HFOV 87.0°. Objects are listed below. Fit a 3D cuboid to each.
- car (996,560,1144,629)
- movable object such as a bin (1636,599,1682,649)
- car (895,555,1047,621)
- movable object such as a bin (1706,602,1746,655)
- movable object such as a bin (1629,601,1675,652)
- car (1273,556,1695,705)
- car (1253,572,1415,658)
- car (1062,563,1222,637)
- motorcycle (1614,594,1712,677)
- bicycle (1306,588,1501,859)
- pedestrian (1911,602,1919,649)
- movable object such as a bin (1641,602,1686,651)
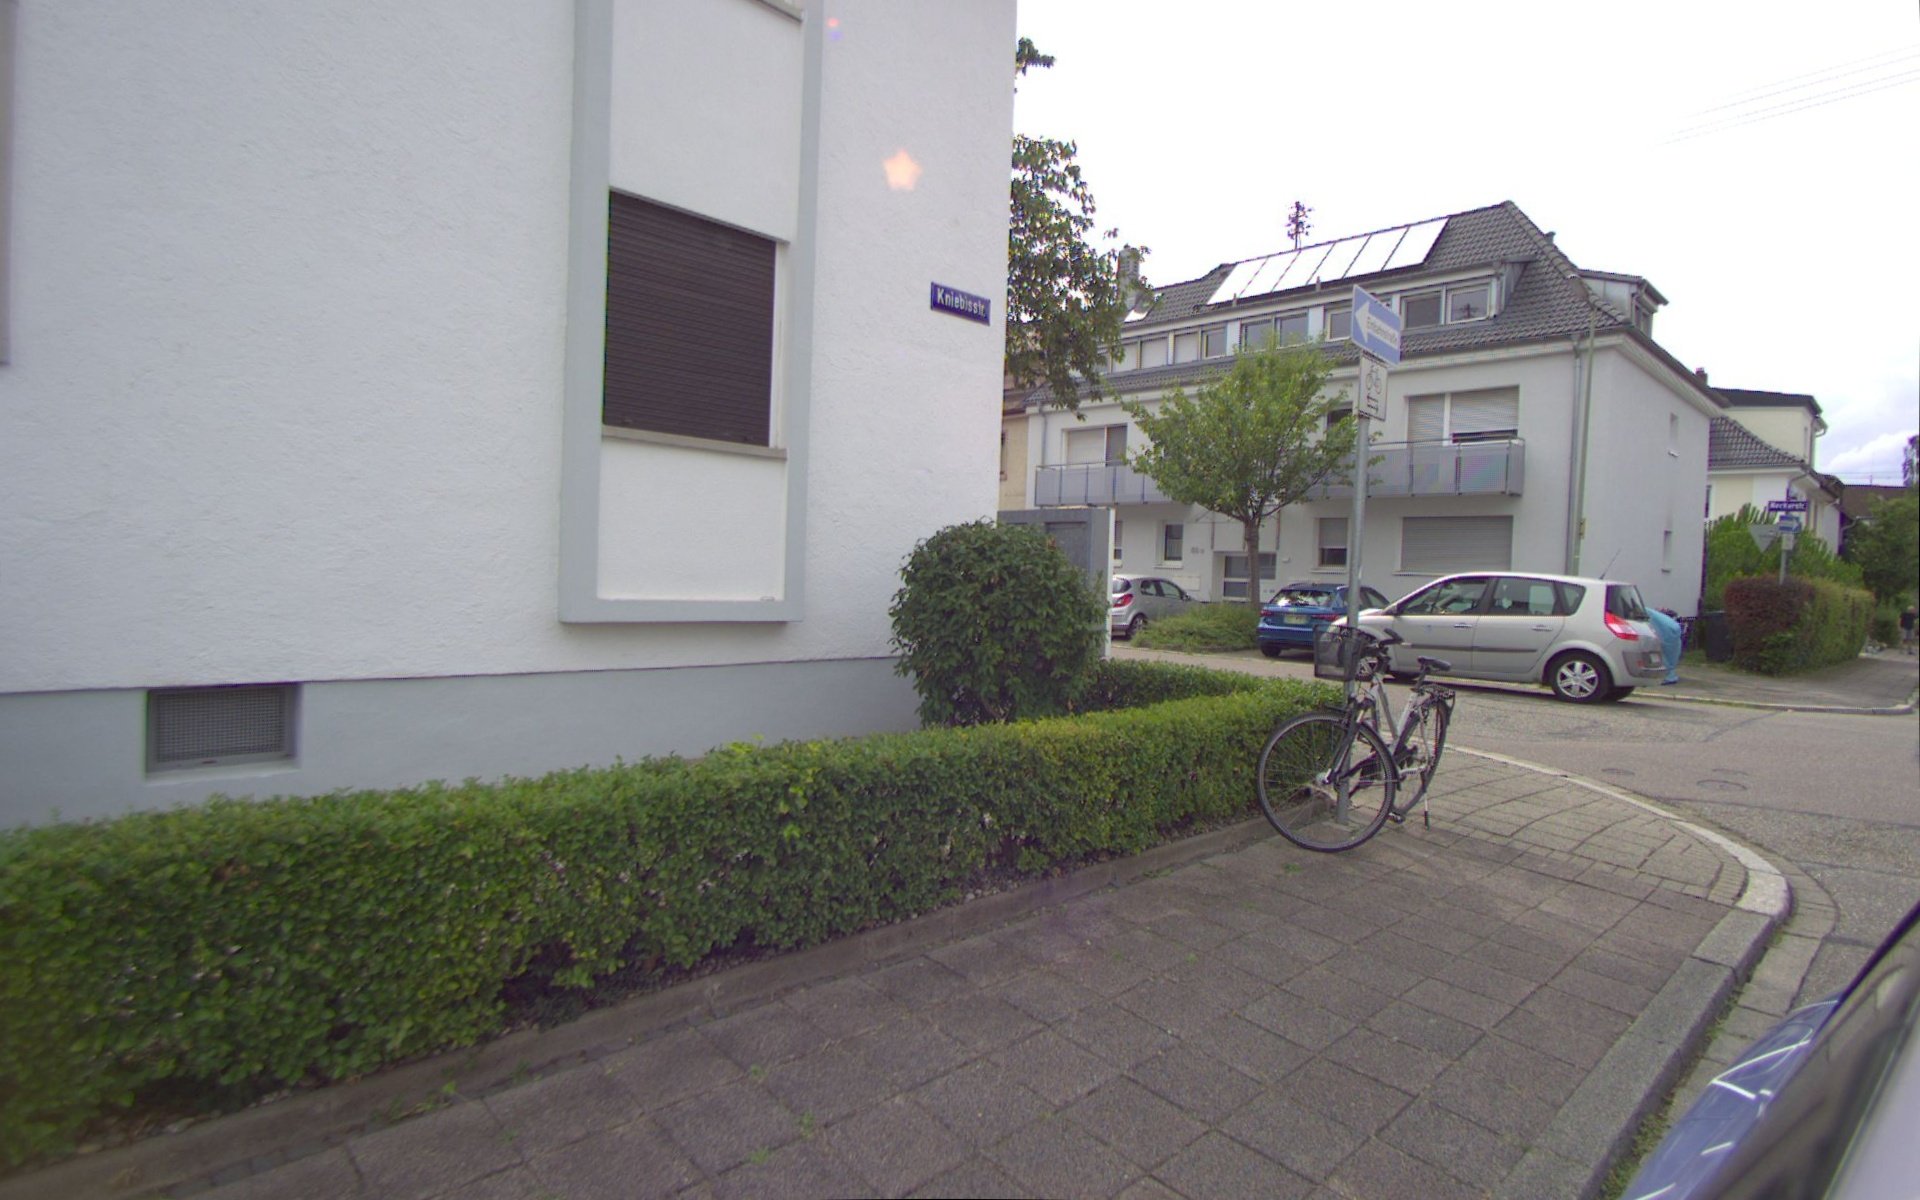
[{"bbox_3d":[2.846,-0.206,25.755,3.697,1.583,1.770,-2,4,-43],"label":"car"},{"bbox_3d":[14.929,0.507,21.622,0.698,1.020,0.512,3,2,44],"label":"movable object such as a bin"},{"bbox_3d":[0.353,-0.379,27.430,3.933,1.637,1.864,-2,4,-43],"label":"car"},{"bbox_3d":[15.377,0.557,20.313,0.546,1.020,0.603,3,1,42],"label":"movable object such as a bin"},{"bbox_3d":[14.502,0.544,21.211,0.698,1.020,0.512,3,2,44],"label":"movable object such as a bin"},{"bbox_3d":[6.992,0.275,13.950,1.760,1.624,4.825,1,2,-44],"label":"car"},{"bbox_3d":[7.256,0.218,19.518,3.471,1.429,1.555,-2,4,-44],"label":"car"},{"bbox_3d":[4.332,-0.069,23.764,3.935,1.537,1.719,-2,4,-44],"label":"car"},{"bbox_3d":[11.428,0.540,16.421,0.937,1.225,2.165,3,2,44],"label":"motorcycle"},{"bbox_3d":[2.395,0.556,5.369,0.433,1.193,1.614,3,3,42],"label":"bicycle"},{"bbox_3d":[36.166,0.959,37.986,0.556,1.740,0.607,3,1,35],"label":"pedestrian"},{"bbox_3d":[15.299,0.566,22.010,0.698,1.020,0.512,3,2,44],"label":"movable object such as a bin"}]
